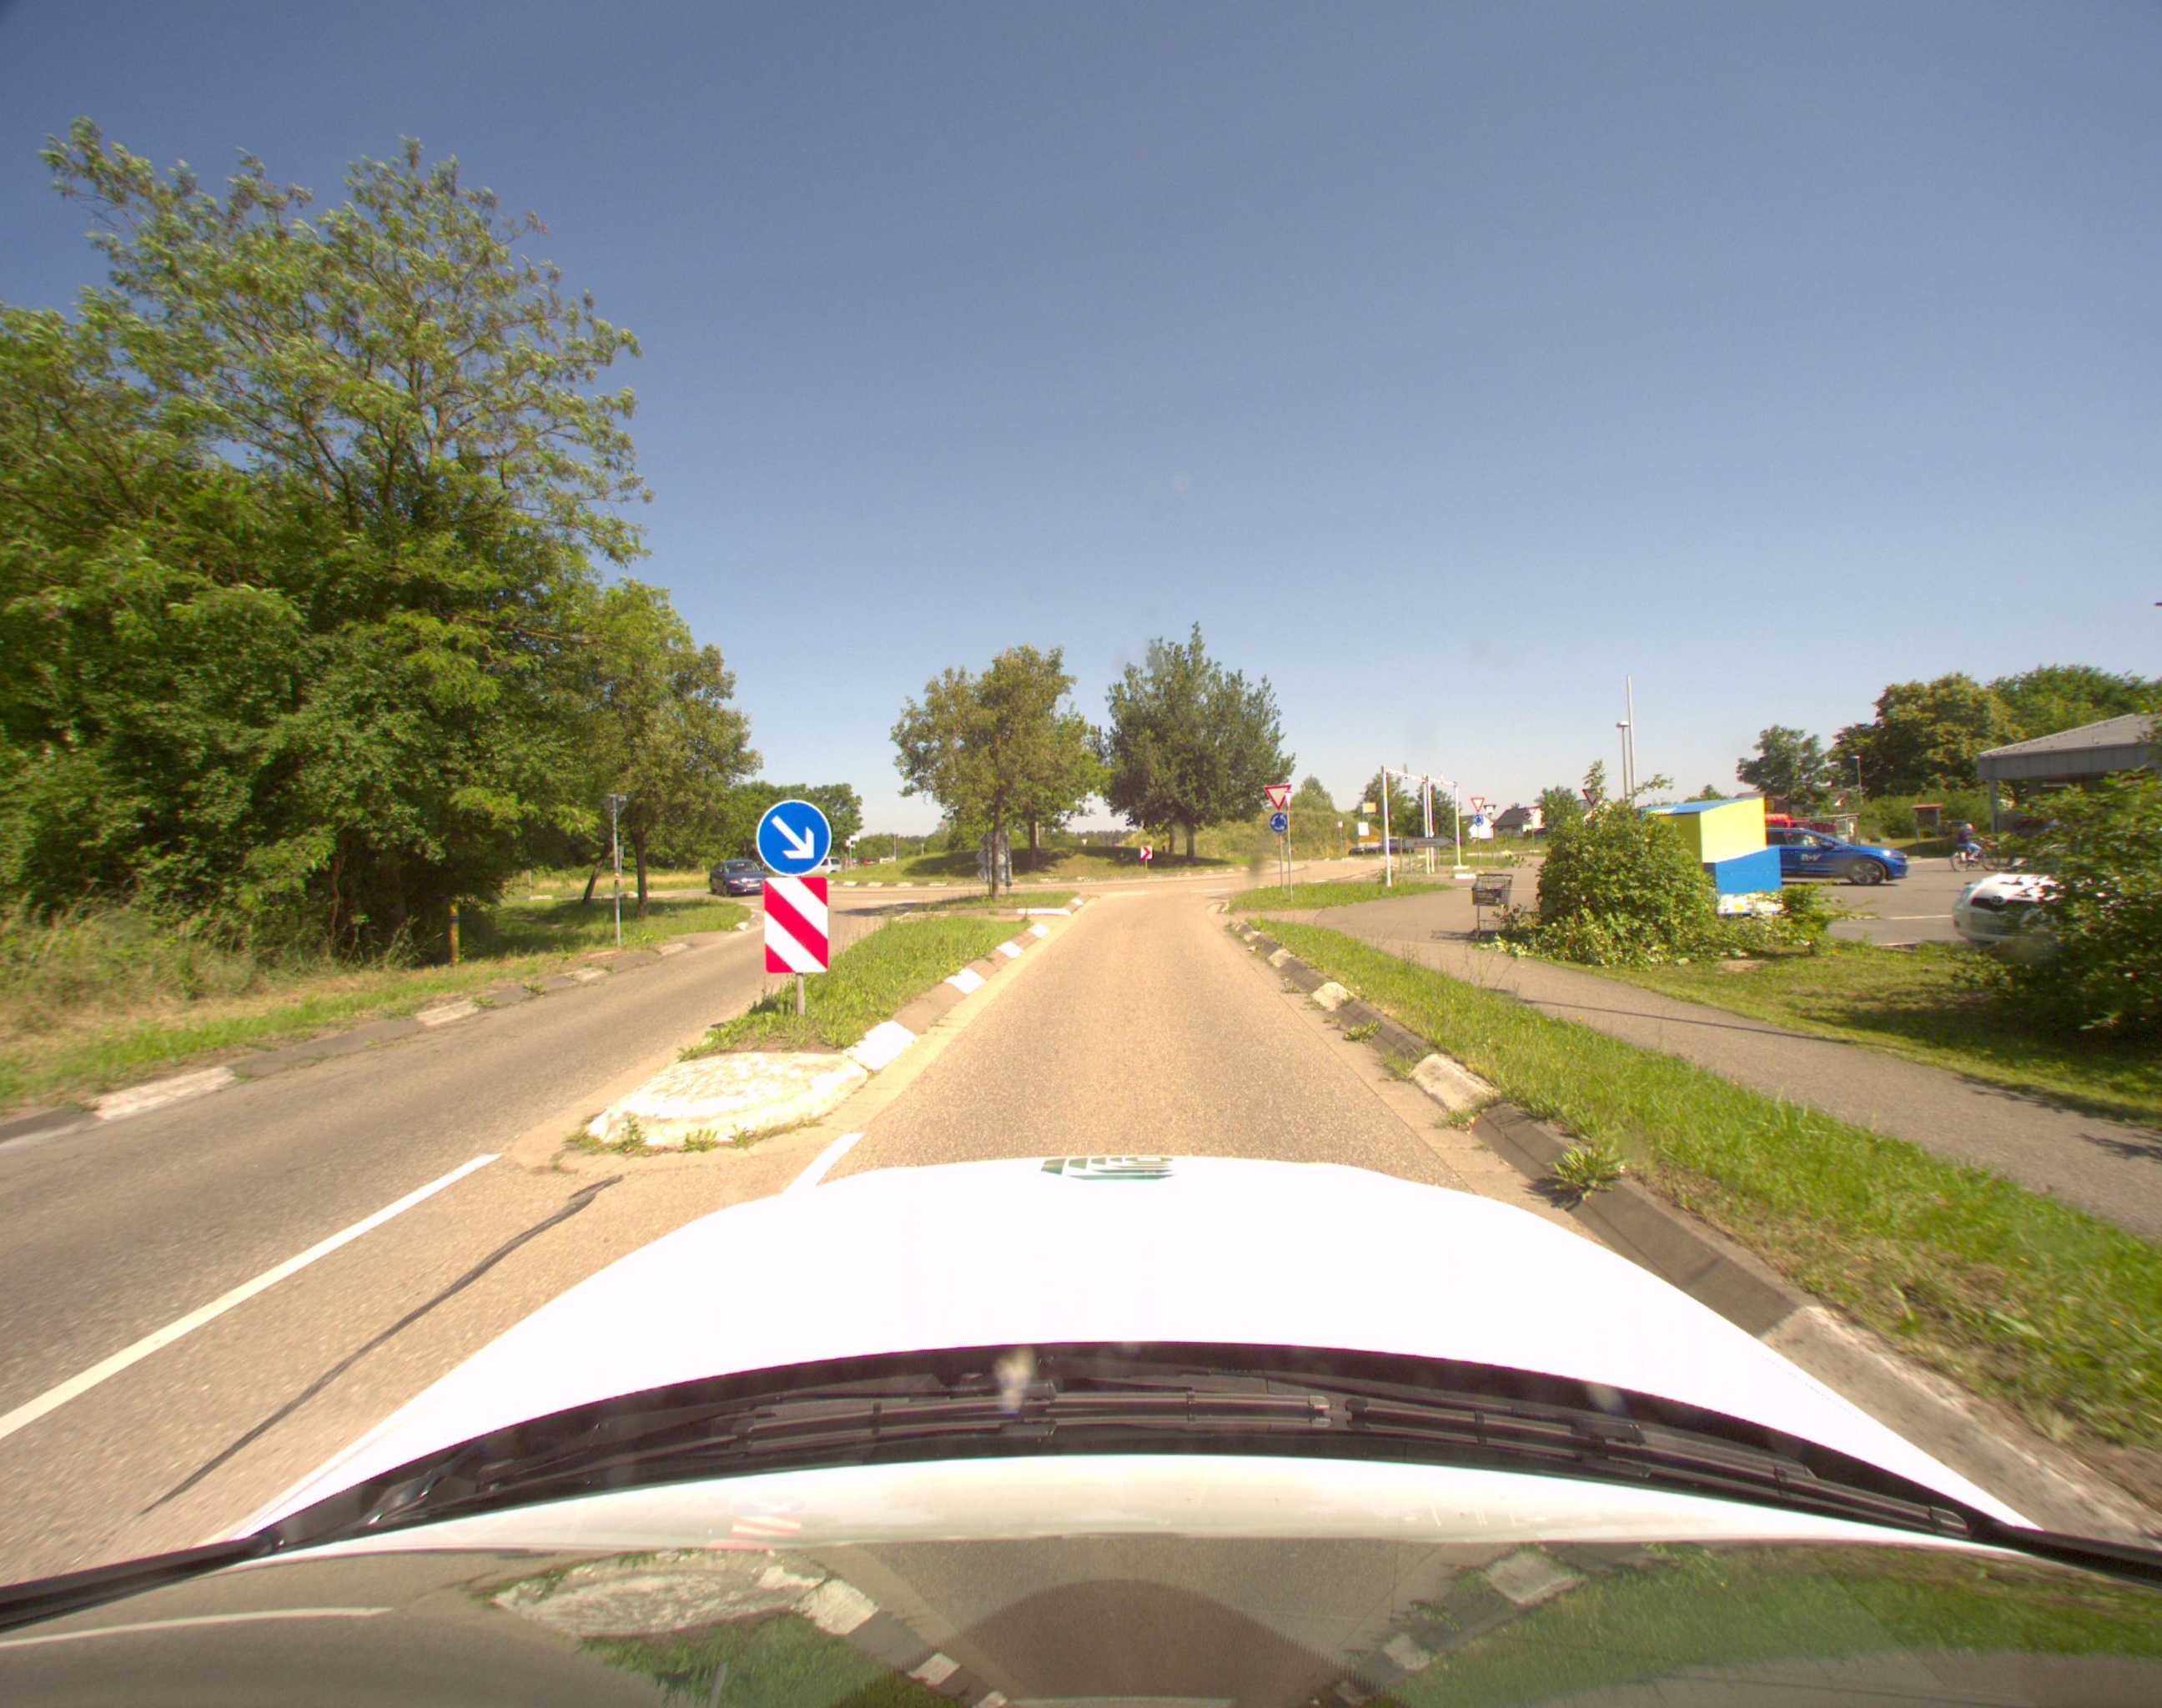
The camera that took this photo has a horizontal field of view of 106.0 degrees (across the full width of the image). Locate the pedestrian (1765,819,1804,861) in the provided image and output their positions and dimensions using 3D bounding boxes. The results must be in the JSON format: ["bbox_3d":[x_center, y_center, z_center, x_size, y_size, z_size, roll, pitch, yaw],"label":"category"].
[{"bbox_3d":[27.945,-0.563,32.363,0.806,1.619,0.930,-2,0,16],"label":"pedestrian"}]

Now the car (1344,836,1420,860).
[{"bbox_3d":[21.675,-0.432,58.652,4.761,1.592,1.992,-2,0,-11],"label":"car"}]

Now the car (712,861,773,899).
[{"bbox_3d":[-14.377,1.063,34.483,1.844,1.387,4.382,-3,1,-29],"label":"car"}]

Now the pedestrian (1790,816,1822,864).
[{"bbox_3d":[28.926,-0.569,32.515,0.830,1.871,0.779,-2,0,36],"label":"pedestrian"}]

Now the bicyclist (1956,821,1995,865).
[{"bbox_3d":[31.559,-0.385,28.740,0.673,1.515,0.607,-2,0,-2],"label":"bicyclist"}]

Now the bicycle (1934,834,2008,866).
[{"bbox_3d":[31.570,-0.139,28.885,2.064,1.042,0.553,-2,0,-2],"label":"bicycle"}]

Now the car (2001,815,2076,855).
[{"bbox_3d":[40.643,-0.802,34.586,1.133,1.635,1.814,-2,0,-25],"label":"car"}]

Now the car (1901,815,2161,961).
[{"bbox_3d":[13.078,0.351,10.316,3.584,1.562,1.813,-3,0,-2],"label":"car"}]

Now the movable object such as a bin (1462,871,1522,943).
[{"bbox_3d":[7.123,0.881,14.108,0.860,1.120,1.464,-2,0,28],"label":"movable object such as a bin"}]

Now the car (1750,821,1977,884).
[{"bbox_3d":[21.370,-0.021,22.511,4.371,1.571,1.727,-1,0,41],"label":"car"}]

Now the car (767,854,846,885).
[{"bbox_3d":[-17.752,0.968,52.883,1.875,1.816,4.625,-2,0,32],"label":"car"}]

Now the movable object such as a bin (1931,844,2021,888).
[{"bbox_3d":[20.759,0.266,18.913,0.882,0.955,1.194,-2,0,-26],"label":"movable object such as a bin"}]

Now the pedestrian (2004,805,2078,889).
[{"bbox_3d":[21.149,-0.160,17.954,0.882,1.785,0.835,-2,0,-26],"label":"pedestrian"}]
